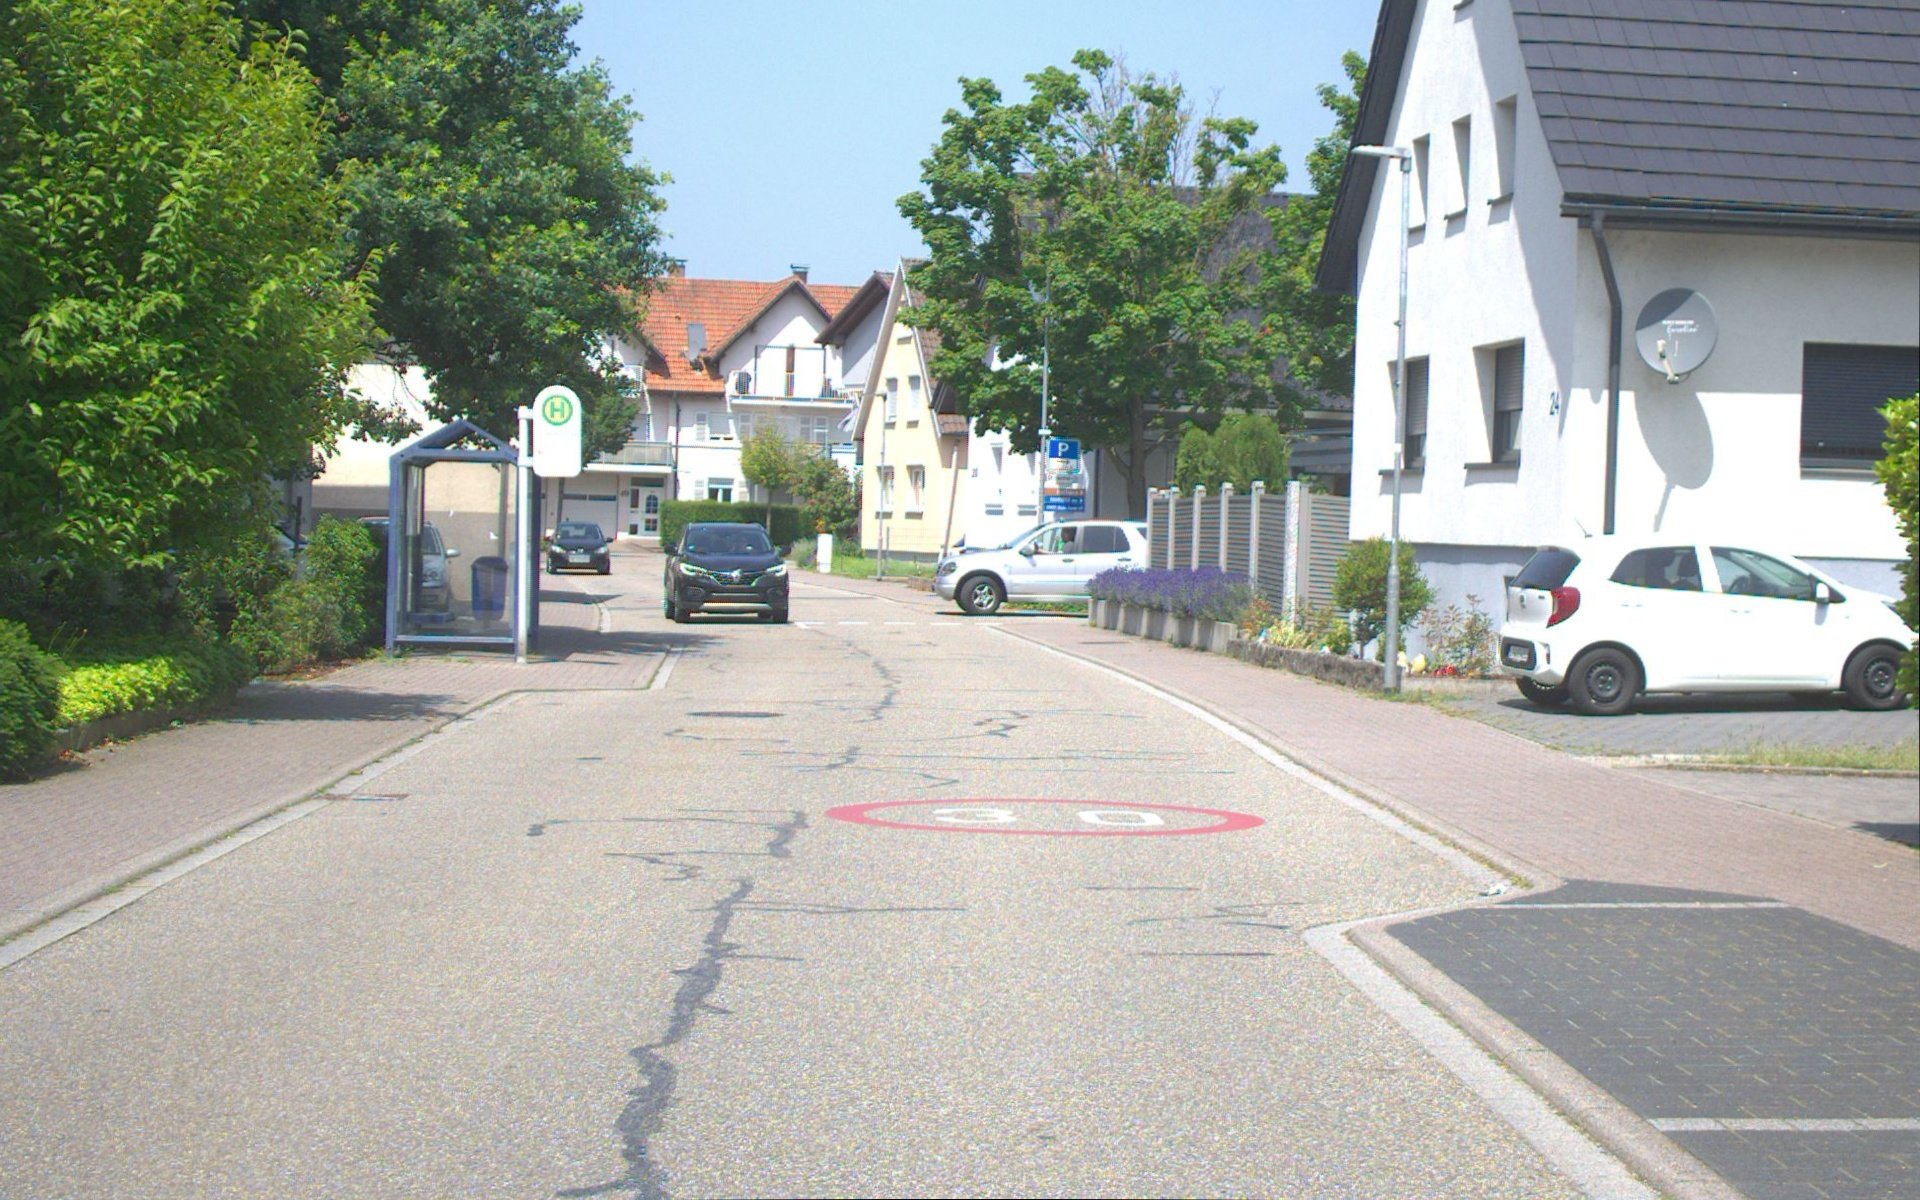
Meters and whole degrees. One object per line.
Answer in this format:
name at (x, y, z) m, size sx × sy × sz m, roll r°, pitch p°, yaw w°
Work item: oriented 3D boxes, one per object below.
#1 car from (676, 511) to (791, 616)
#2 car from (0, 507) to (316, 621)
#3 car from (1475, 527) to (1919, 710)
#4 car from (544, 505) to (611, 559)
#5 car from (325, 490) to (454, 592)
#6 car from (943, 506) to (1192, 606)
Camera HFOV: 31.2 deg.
car at (-3.696, -0.620, 55.844) m, size 1.776 × 1.618 × 4.106 m, roll 1°, pitch 1°, yaw -4°
car at (-11.125, -0.513, 47.725) m, size 4.159 × 1.533 × 1.774 m, roll 0°, pitch 2°, yaw -6°
car at (6.418, 0.133, 29.279) m, size 3.656 × 1.469 × 1.766 m, roll 0°, pitch 2°, yaw -8°
car at (-10.864, -1.950, 97.442) m, size 1.626 × 1.481 × 4.001 m, roll 0°, pitch 2°, yaw -10°
car at (-8.653, -0.930, 52.385) m, size 1.778 × 1.430 × 4.057 m, roll 2°, pitch 2°, yaw -8°
car at (1.897, -0.783, 61.590) m, size 4.316 × 1.761 × 1.892 m, roll 0°, pitch 1°, yaw -3°
